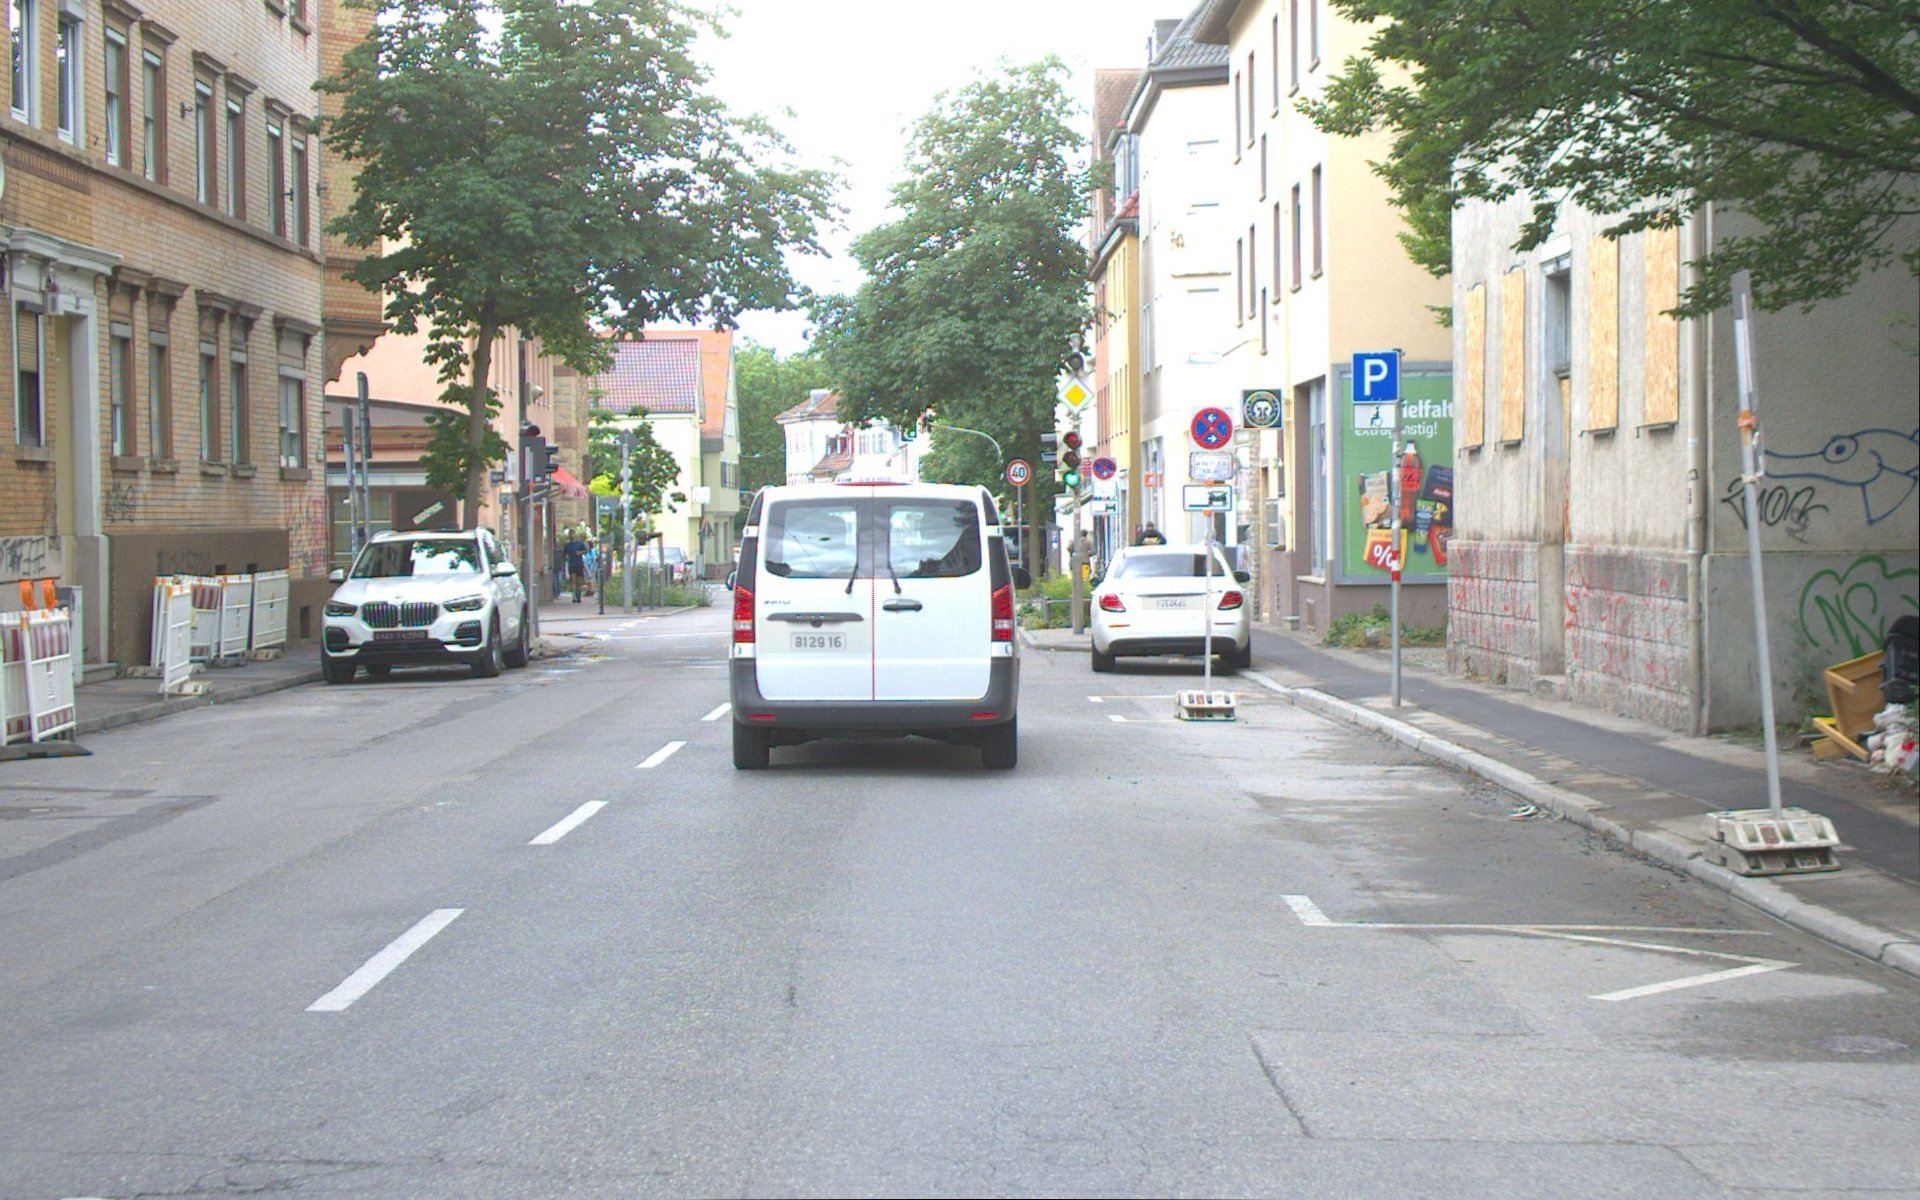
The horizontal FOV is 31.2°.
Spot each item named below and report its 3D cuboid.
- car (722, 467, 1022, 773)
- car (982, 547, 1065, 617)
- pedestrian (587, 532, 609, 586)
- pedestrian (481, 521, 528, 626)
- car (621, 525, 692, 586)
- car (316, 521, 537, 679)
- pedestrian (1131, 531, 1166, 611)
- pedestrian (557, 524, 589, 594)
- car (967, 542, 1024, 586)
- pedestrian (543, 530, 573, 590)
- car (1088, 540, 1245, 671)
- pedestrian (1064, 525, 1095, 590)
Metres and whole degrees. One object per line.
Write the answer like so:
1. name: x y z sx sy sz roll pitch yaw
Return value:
1. car: -0.594 0.090 23.596 1.872 1.905 4.000 0 1 -1
2. car: 1.645 -0.475 90.088 1.819 1.775 4.404 0 1 -4
3. pedestrian: -10.607 -1.199 100.691 0.571 1.549 0.697 1 1 -1
4. pedestrian: -7.613 -0.451 57.501 0.738 1.748 0.983 0 1 -6
5. car: -8.396 -1.259 95.358 1.702 1.568 4.451 -3 1 -3
6. car: -6.323 -0.051 41.251 1.891 1.706 4.741 -2 1 0
7. pedestrian: 3.935 -0.612 71.729 0.614 1.647 0.983 1 1 -3
8. pedestrian: -9.562 -1.016 85.006 0.738 1.712 1.157 0 1 -4
9. car: 1.103 -1.131 107.623 1.551 1.328 3.813 0 1 -3
10. pedestrian: -11.024 -1.101 94.271 0.730 1.623 0.759 -1 1 -11
11. car: 2.427 0.020 41.377 1.767 1.461 4.783 0 1 2
12. pedestrian: 3.073 -1.100 88.421 0.701 1.643 0.889 -2 1 -3
